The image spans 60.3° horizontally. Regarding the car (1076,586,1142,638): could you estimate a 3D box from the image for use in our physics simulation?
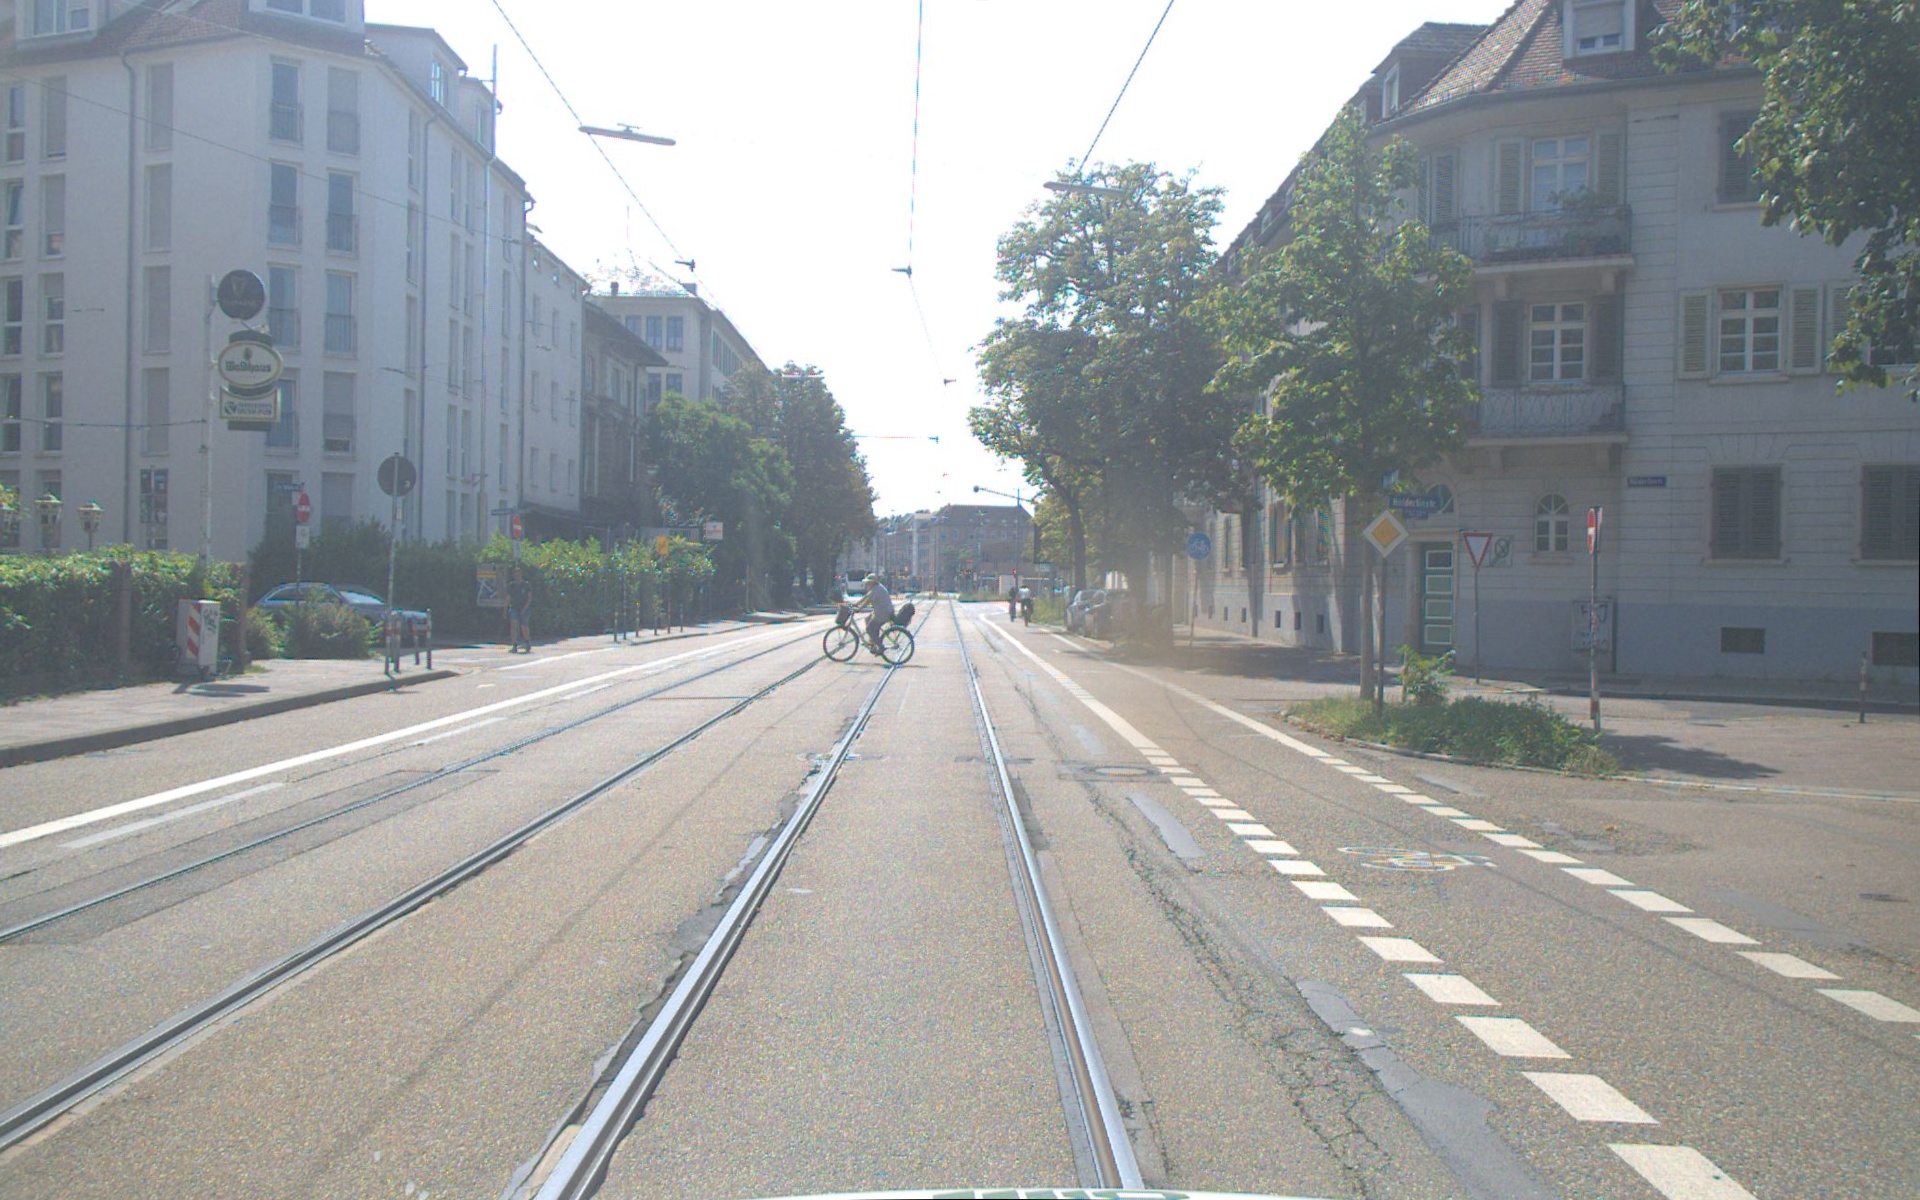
[{"bbox_3d":[4.478,0.353,50.027,1.552,1.490,3.414,1,0,-2],"label":"car"}]

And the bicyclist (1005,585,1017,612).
[{"bbox_3d":[2.418,-0.080,78.583,0.567,1.301,0.471,1,0,2],"label":"bicyclist"}]

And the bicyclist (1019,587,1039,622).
[{"bbox_3d":[2.793,0.170,66.914,0.743,1.416,0.779,1,0,1],"label":"bicyclist"}]

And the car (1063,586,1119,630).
[{"bbox_3d":[4.547,0.287,57.695,1.552,1.490,3.465,1,0,-2],"label":"car"}]

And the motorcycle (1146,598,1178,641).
[{"bbox_3d":[5.307,0.503,43.574,0.537,1.086,2.330,1,0,0],"label":"motorcycle"}]

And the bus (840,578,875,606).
[{"bbox_3d":[-12.859,-1.031,208.878,3.659,3.423,15.116,1,0,-1],"label":"bus"}]

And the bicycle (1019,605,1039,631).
[{"bbox_3d":[2.795,0.721,67.150,0.743,1.008,2.298,1,0,2],"label":"bicycle"}]

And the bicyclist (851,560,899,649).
[{"bbox_3d":[-1.637,0.081,31.799,0.806,1.671,0.786,1,0,3],"label":"bicyclist"}]

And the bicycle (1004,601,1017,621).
[{"bbox_3d":[2.415,0.515,78.623,0.575,0.955,2.172,1,0,2],"label":"bicycle"}]

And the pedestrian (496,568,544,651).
[{"bbox_3d":[-9.651,0.203,36.322,0.763,1.787,1.040,0,0,0],"label":"pedestrian"}]

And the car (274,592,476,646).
[{"bbox_3d":[-13.671,0.428,38.697,4.142,1.205,2.001,0,0,20],"label":"car"}]

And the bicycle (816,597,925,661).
[{"bbox_3d":[-1.717,0.553,31.810,1.992,1.171,0.786,1,0,3],"label":"bicycle"}]
